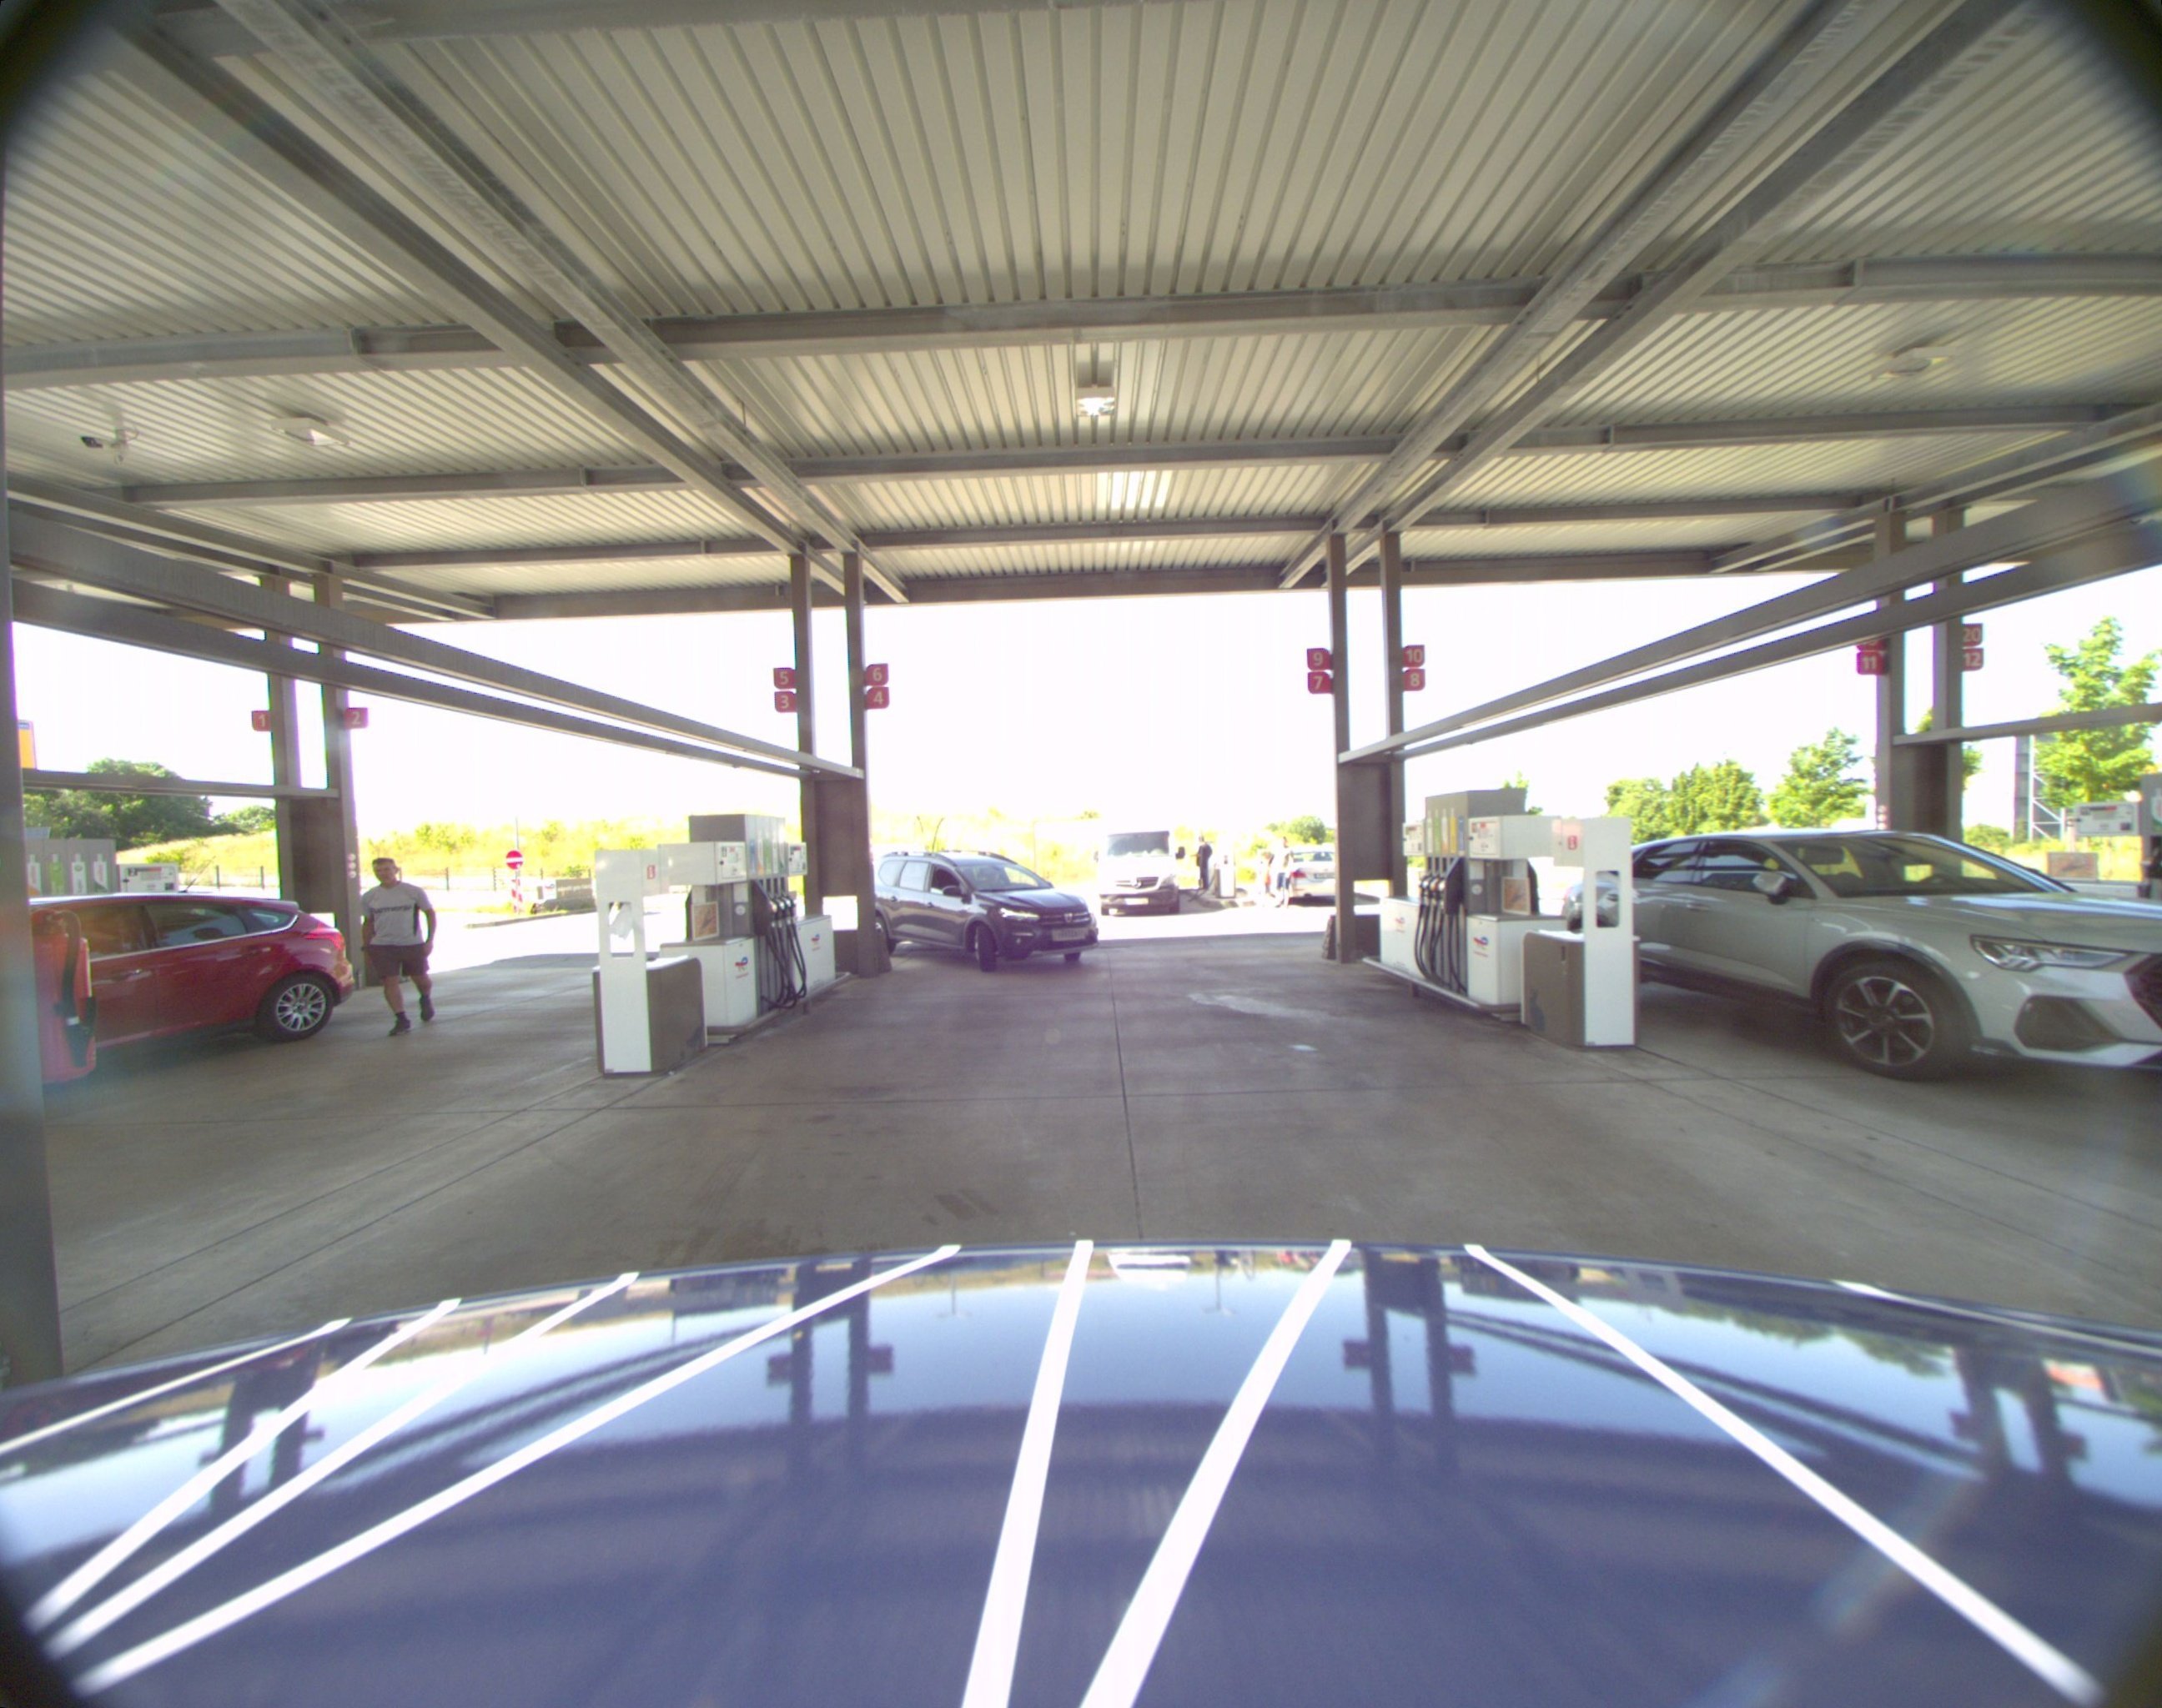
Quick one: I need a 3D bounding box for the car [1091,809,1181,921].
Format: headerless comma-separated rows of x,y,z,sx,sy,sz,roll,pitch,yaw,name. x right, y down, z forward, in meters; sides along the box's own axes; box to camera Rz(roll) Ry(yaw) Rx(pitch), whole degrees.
1.724,0.112,21.099,1.997,2.557,7.032,-1,3,8,car

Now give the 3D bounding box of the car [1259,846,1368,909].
6.245,0.559,20.889,1.791,1.420,4.321,-2,2,2,car

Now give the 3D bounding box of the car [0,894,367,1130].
-8.243,1.177,5.684,1.703,1.460,4.232,-2,0,1,car

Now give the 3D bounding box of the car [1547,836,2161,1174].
5.651,0.679,5.661,1.784,1.532,4.325,-2,0,2,car

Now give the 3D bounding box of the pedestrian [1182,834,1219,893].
3.686,0.293,23.430,0.710,1.759,0.843,-2,1,-39,pedestrian

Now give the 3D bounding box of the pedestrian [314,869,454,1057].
-6.870,1.017,7.546,0.704,1.693,0.926,-2,1,-23,pedestrian

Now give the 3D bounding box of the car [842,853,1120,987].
-1.726,0.857,11.698,1.747,1.635,4.619,-2,1,-45,car

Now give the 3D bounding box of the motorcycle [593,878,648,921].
-13.867,1.337,22.965,1.047,1.099,2.411,-2,1,-23,motorcycle

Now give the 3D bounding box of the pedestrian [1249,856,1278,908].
4.687,0.707,19.555,0.577,1.299,0.669,-2,1,4,pedestrian

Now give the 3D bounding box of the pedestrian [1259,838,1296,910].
4.886,0.494,18.962,0.708,1.739,0.845,-2,1,4,pedestrian

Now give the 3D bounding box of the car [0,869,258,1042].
-12.890,1.126,9.009,2.035,1.840,4.791,-1,0,-16,car

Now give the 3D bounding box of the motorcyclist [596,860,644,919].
-13.845,1.050,22.864,1.036,1.678,1.097,-2,1,-23,motorcyclist
